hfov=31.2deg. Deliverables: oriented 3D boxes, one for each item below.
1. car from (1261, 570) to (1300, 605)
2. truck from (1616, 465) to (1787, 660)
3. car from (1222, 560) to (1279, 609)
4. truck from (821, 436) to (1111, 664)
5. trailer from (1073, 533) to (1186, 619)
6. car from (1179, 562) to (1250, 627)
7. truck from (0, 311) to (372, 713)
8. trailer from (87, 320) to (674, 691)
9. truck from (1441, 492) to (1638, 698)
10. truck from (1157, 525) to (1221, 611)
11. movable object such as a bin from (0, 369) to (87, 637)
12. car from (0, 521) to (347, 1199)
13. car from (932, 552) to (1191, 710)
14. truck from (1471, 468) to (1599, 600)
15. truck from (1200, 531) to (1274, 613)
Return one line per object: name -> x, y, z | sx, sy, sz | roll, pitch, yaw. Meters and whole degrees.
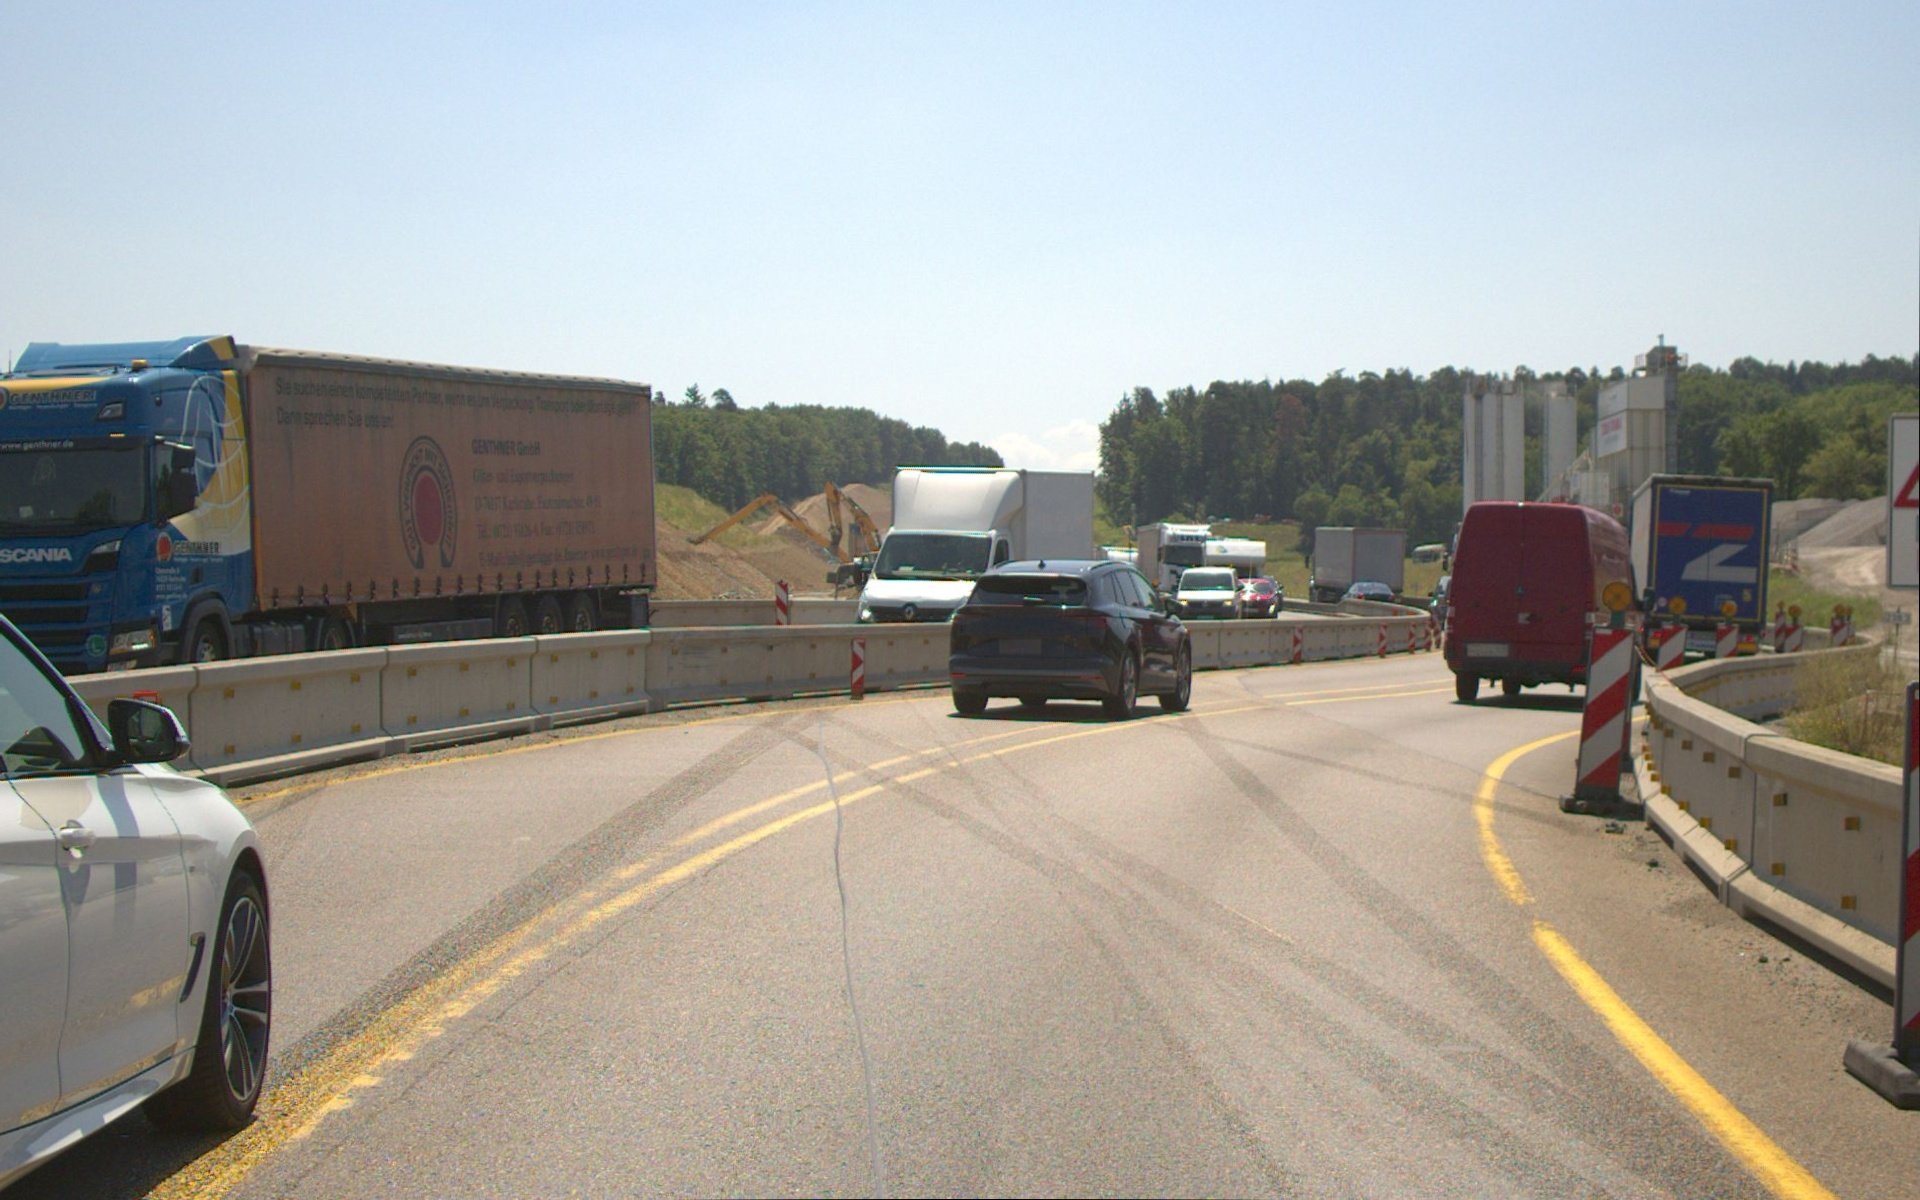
car -> 15.187, -0.603, 162.683 | 1.660, 1.600, 4.395 | 1, 1, 7
truck -> 16.597, -0.853, 77.451 | 3.016, 4.138, 8.270 | 1, 1, 7
car -> 10.003, -0.549, 118.113 | 1.720, 1.622, 4.335 | 1, 1, 8
truck -> 0.222, -0.787, 54.505 | 2.581, 3.370, 6.922 | 1, 1, 18
trailer -> 4.161, -0.604, 83.826 | 1.867, 2.015, 4.433 | 1, 1, 15
car -> 7.893, -0.190, 106.316 | 1.866, 1.947, 4.891 | 1, 1, 8
truck -> -8.746, -0.934, 37.714 | 2.546, 4.067, 5.542 | 1, 1, 13
trailer -> -7.071, -1.145, 45.006 | 2.588, 4.138, 13.057 | 1, 1, 14
truck -> 8.052, -0.109, 47.288 | 2.113, 2.624, 6.480 | 1, 1, 14
truck -> 11.045, -1.551, 165.563 | 2.702, 4.048, 5.499 | 1, 1, 7
movable object such as a bin -> -17.714, -1.559, 53.785 | 2.927, 4.315, 9.316 | 1, 1, 22
car -> -2.701, 0.615, 7.200 | 1.795, 1.529, 5.073 | -1, 1, 1
car -> 1.119, 0.282, 35.867 | 1.796, 1.529, 3.928 | 1, 1, 16
truck -> 21.232, -2.419, 127.439 | 3.684, 4.675, 9.751 | 1, 1, 4
truck -> 10.767, -1.116, 134.109 | 2.441, 3.061, 7.248 | 1, 1, 1
